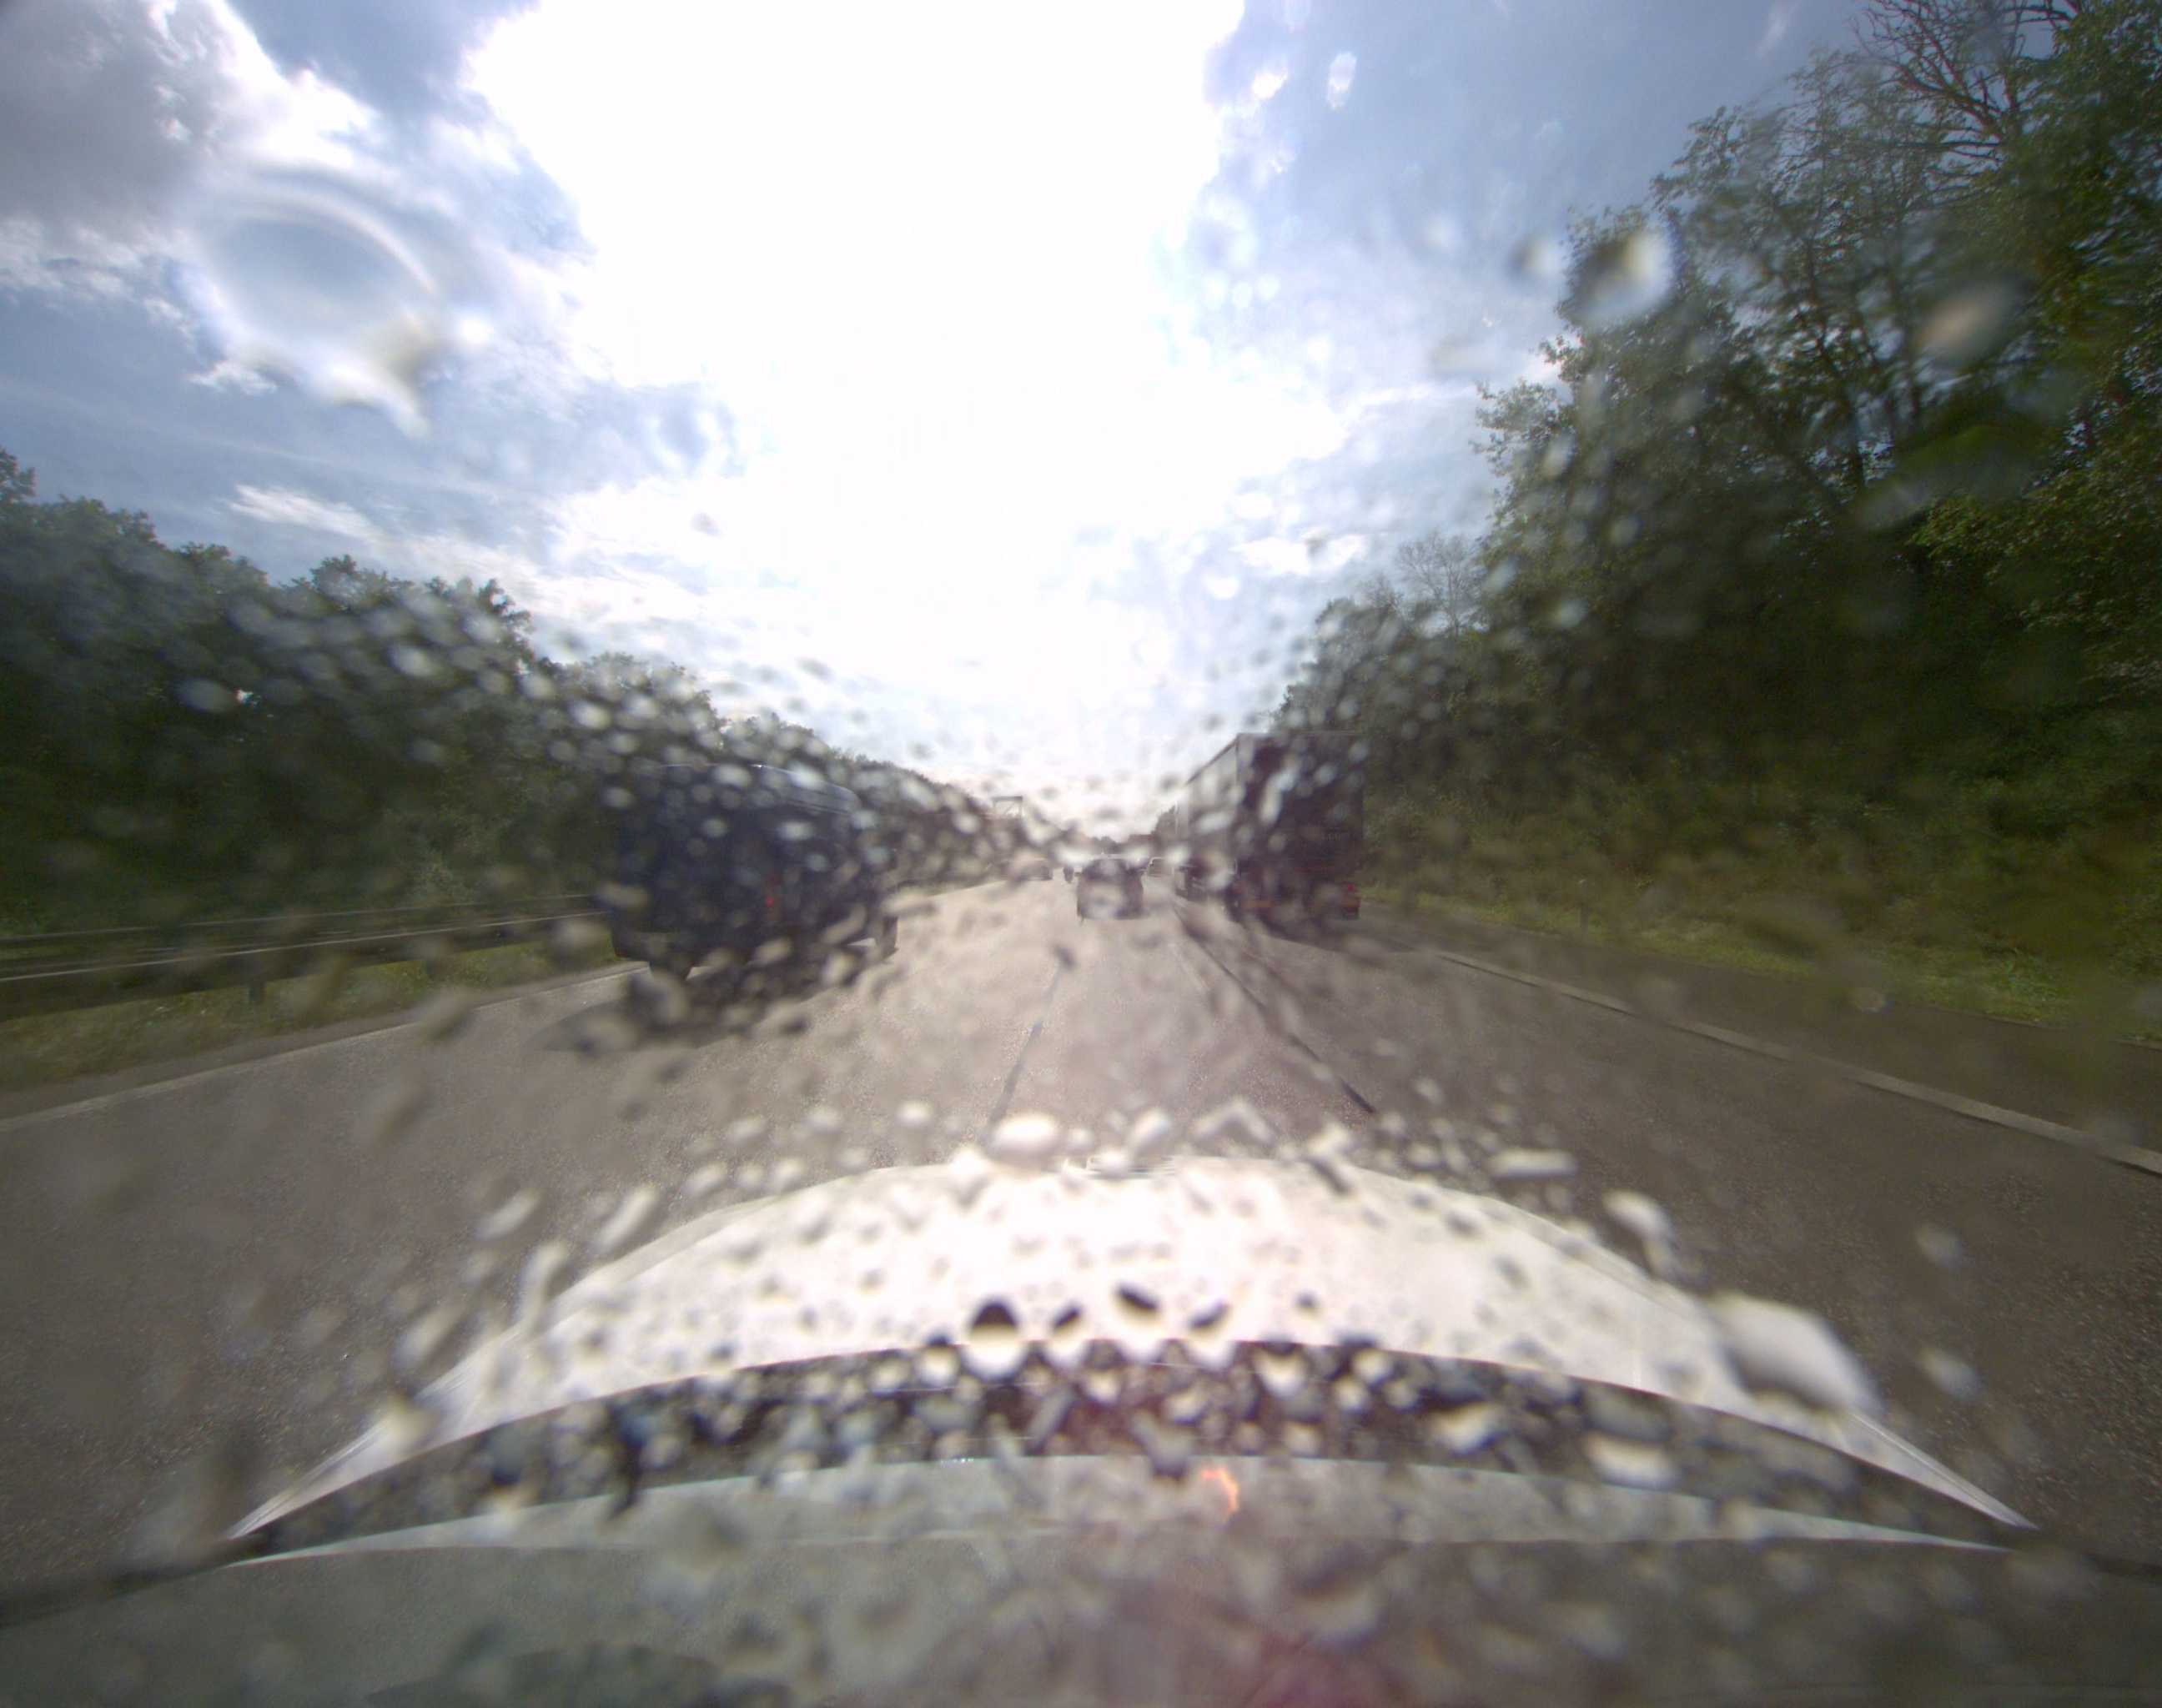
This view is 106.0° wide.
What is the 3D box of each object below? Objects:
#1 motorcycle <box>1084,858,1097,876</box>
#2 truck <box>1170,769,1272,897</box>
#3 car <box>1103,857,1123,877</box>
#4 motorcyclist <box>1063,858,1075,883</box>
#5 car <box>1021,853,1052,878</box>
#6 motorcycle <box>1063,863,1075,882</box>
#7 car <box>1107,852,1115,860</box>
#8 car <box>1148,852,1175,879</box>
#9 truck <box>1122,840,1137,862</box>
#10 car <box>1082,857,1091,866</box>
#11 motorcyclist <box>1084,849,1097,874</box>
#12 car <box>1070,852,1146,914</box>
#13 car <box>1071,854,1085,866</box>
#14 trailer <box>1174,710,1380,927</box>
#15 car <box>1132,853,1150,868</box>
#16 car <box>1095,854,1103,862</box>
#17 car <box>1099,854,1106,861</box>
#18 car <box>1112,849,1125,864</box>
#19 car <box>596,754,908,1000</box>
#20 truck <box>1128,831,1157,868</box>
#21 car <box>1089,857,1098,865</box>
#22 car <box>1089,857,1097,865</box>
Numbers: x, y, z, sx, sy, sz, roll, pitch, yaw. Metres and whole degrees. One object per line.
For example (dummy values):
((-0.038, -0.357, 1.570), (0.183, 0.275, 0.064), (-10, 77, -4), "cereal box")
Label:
((0.642, 0.890, 56.674), (0.817, 1.263, 2.116), (-1, 0, -1), "motorcycle")
((5.068, -0.681, 30.605), (3.040, 4.325, 5.890), (-1, -1, 3), "truck")
((3.326, 1.365, 85.447), (1.986, 2.014, 4.000), (-1, -1, 1), "car")
((-0.702, 0.976, 47.930), (0.668, 1.442, 1.019), (-1, -1, -2), "motorcyclist")
((-2.972, 0.784, 55.467), (1.752, 1.595, 4.332), (-1, 0, 1), "car")
((-0.702, 1.091, 47.863), (0.674, 1.087, 1.980), (0, 0, -1), "motorcycle")
((6.101, 0.389, 166.573), (1.626, 1.490, 3.437), (-1, 0, 1), "car")
((6.162, 0.873, 62.800), (1.842, 2.014, 4.089), (-1, -1, 2), "car")
((10.806, -0.586, 181.780), (2.871, 4.687, 12.662), (-1, -1, 2), "truck")
((0.983, 1.325, 147.118), (1.669, 1.597, 3.437), (-1, 0, 1), "car")
((0.636, 0.519, 56.609), (0.819, 1.761, 1.389), (-1, -1, -1), "motorcyclist")
((0.737, 0.746, 22.848), (1.908, 1.565, 4.315), (-1, 0, 1), "car")
((-0.448, 0.815, 116.729), (1.886, 1.628, 4.196), (-1, 0, 1), "car")
((4.735, -0.690, 23.415), (3.076, 4.312, 14.113), (-1, 0, 3), "trailer")
((6.196, 0.709, 83.767), (1.669, 1.490, 3.437), (-1, 0, 1), "car")
((4.692, 1.160, 211.522), (1.986, 2.014, 4.001), (-1, -1, 1), "car")
((6.335, 1.134, 235.880), (1.986, 2.014, 4.001), (-1, -1, 1), "car")
((4.986, 0.324, 108.213), (1.669, 1.936, 3.774), (-1, 0, 1), "car")
((-4.198, 0.257, 11.750), (2.008, 2.648, 5.778), (-1, 0, 1), "car")
((7.616, -0.477, 101.822), (3.190, 4.404, 9.437), (-1, 0, 2), "truck")
((3.074, 1.675, 195.633), (1.986, 2.014, 4.001), (-1, -1, 1), "car")
((2.522, 1.498, 172.885), (1.669, 1.490, 3.437), (-1, 0, 1), "car")
